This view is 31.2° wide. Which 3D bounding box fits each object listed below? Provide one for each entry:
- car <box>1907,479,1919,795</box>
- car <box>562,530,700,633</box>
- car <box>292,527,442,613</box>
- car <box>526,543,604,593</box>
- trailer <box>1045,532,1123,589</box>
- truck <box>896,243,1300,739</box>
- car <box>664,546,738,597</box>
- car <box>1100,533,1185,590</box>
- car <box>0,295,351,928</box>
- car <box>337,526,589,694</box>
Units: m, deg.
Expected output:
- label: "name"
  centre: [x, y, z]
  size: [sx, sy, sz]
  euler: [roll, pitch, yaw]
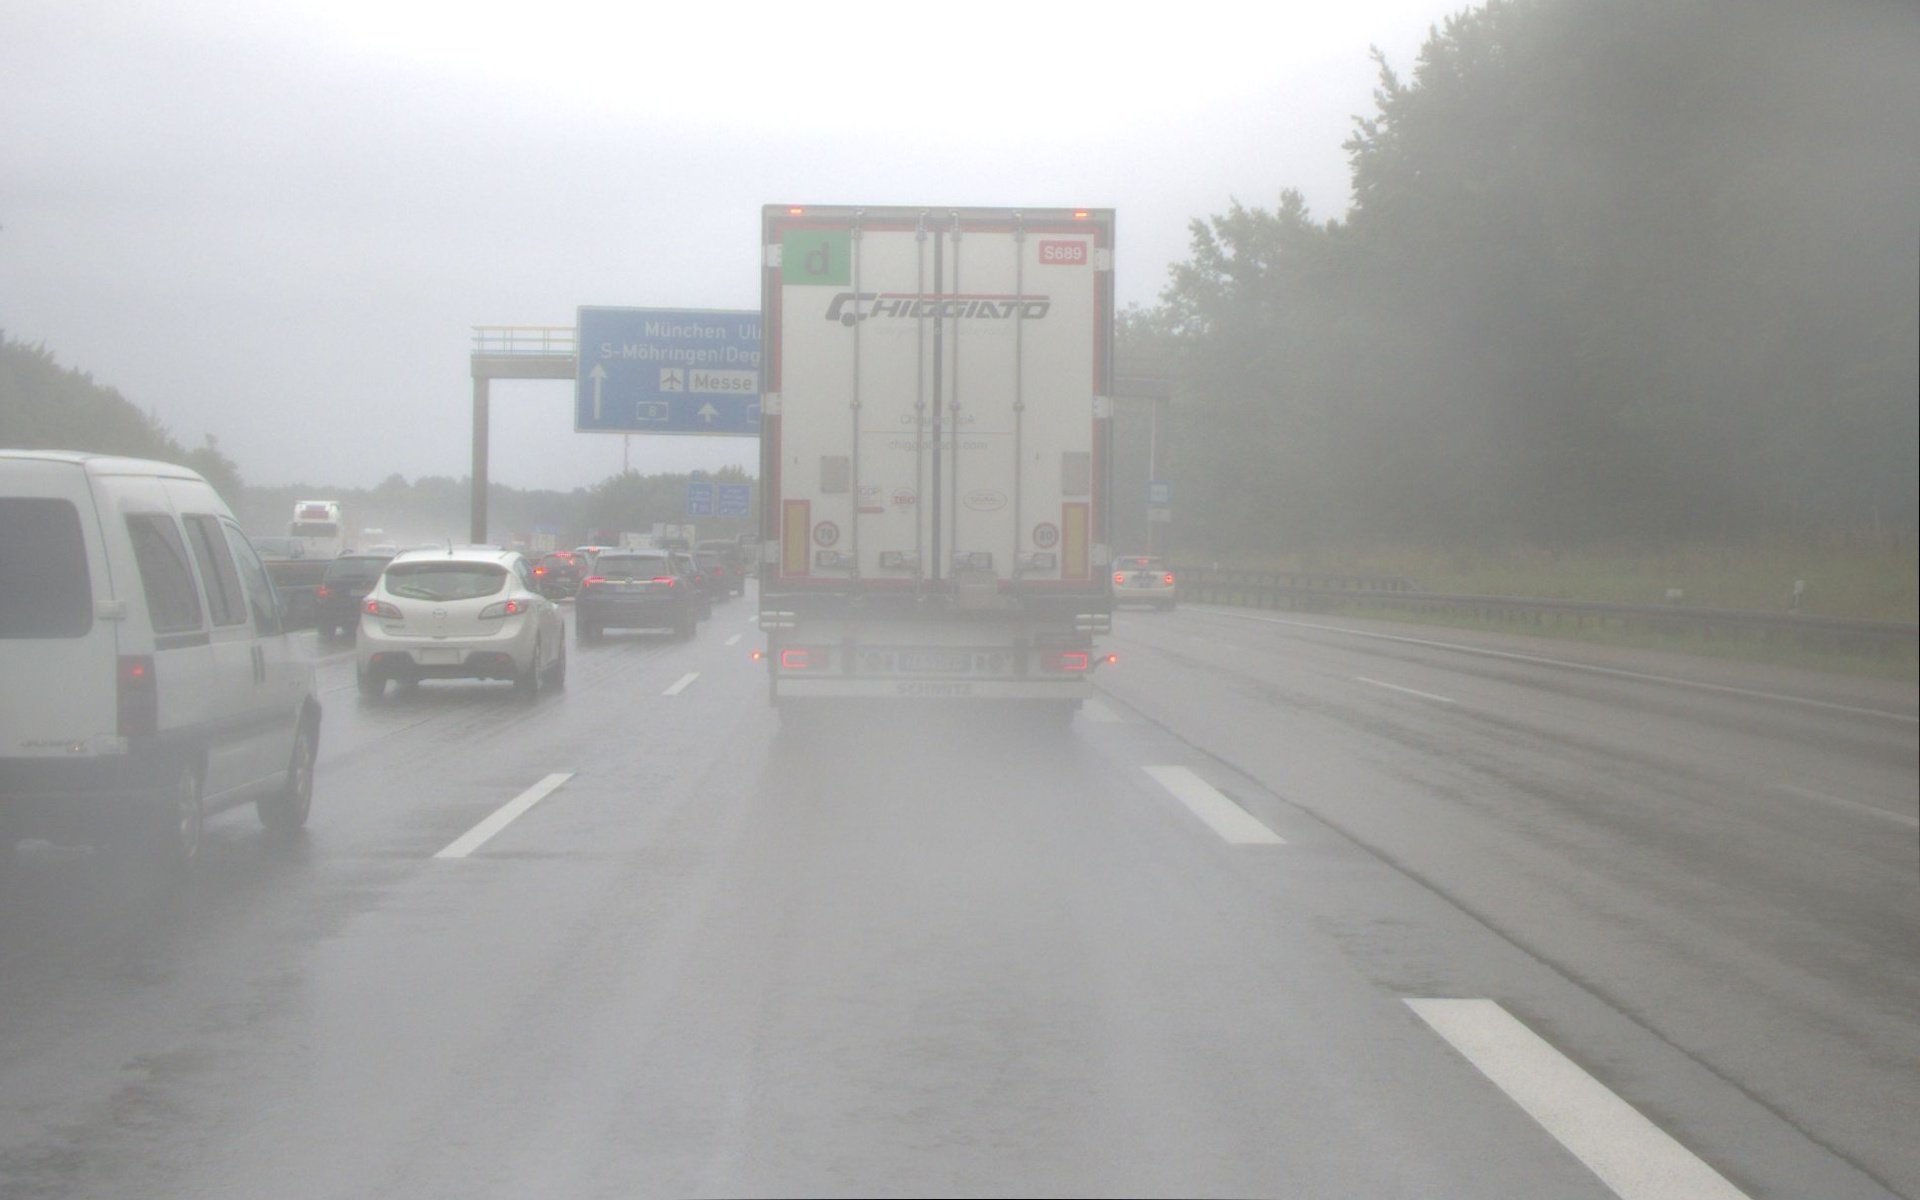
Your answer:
- label: "car"
  centre: [6.921, 0.290, 18.696]
  size: [1.989, 1.914, 4.768]
  euler: [1, 1, -3]
- label: "car"
  centre: [-5.377, -0.334, 56.722]
  size: [1.845, 1.586, 4.467]
  euler: [1, 1, 0]
- label: "car"
  centre: [-9.843, -0.528, 57.352]
  size: [1.845, 1.326, 4.467]
  euler: [1, 1, -2]
- label: "car"
  centre: [-11.268, -0.930, 98.281]
  size: [1.845, 1.326, 4.467]
  euler: [1, 1, -2]
- label: "trailer"
  centre: [3.941, -1.284, 109.903]
  size: [2.243, 1.708, 5.083]
  euler: [1, 1, -1]
- label: "truck"
  centre: [1.083, -0.859, 30.479]
  size: [2.872, 3.550, 11.302]
  euler: [1, 1, 1]
- label: "car"
  centre: [-7.244, -0.822, 96.481]
  size: [1.845, 1.326, 4.467]
  euler: [1, 1, -2]
- label: "car"
  centre: [4.717, -1.021, 89.430]
  size: [1.790, 1.402, 4.228]
  euler: [1, 1, -3]
- label: "car"
  centre: [-4.402, -0.020, 16.446]
  size: [2.212, 2.564, 5.016]
  euler: [1, 1, -2]
- label: "car"
  centre: [-4.991, 0.051, 35.053]
  size: [1.845, 1.586, 4.072]
  euler: [1, 1, 2]
